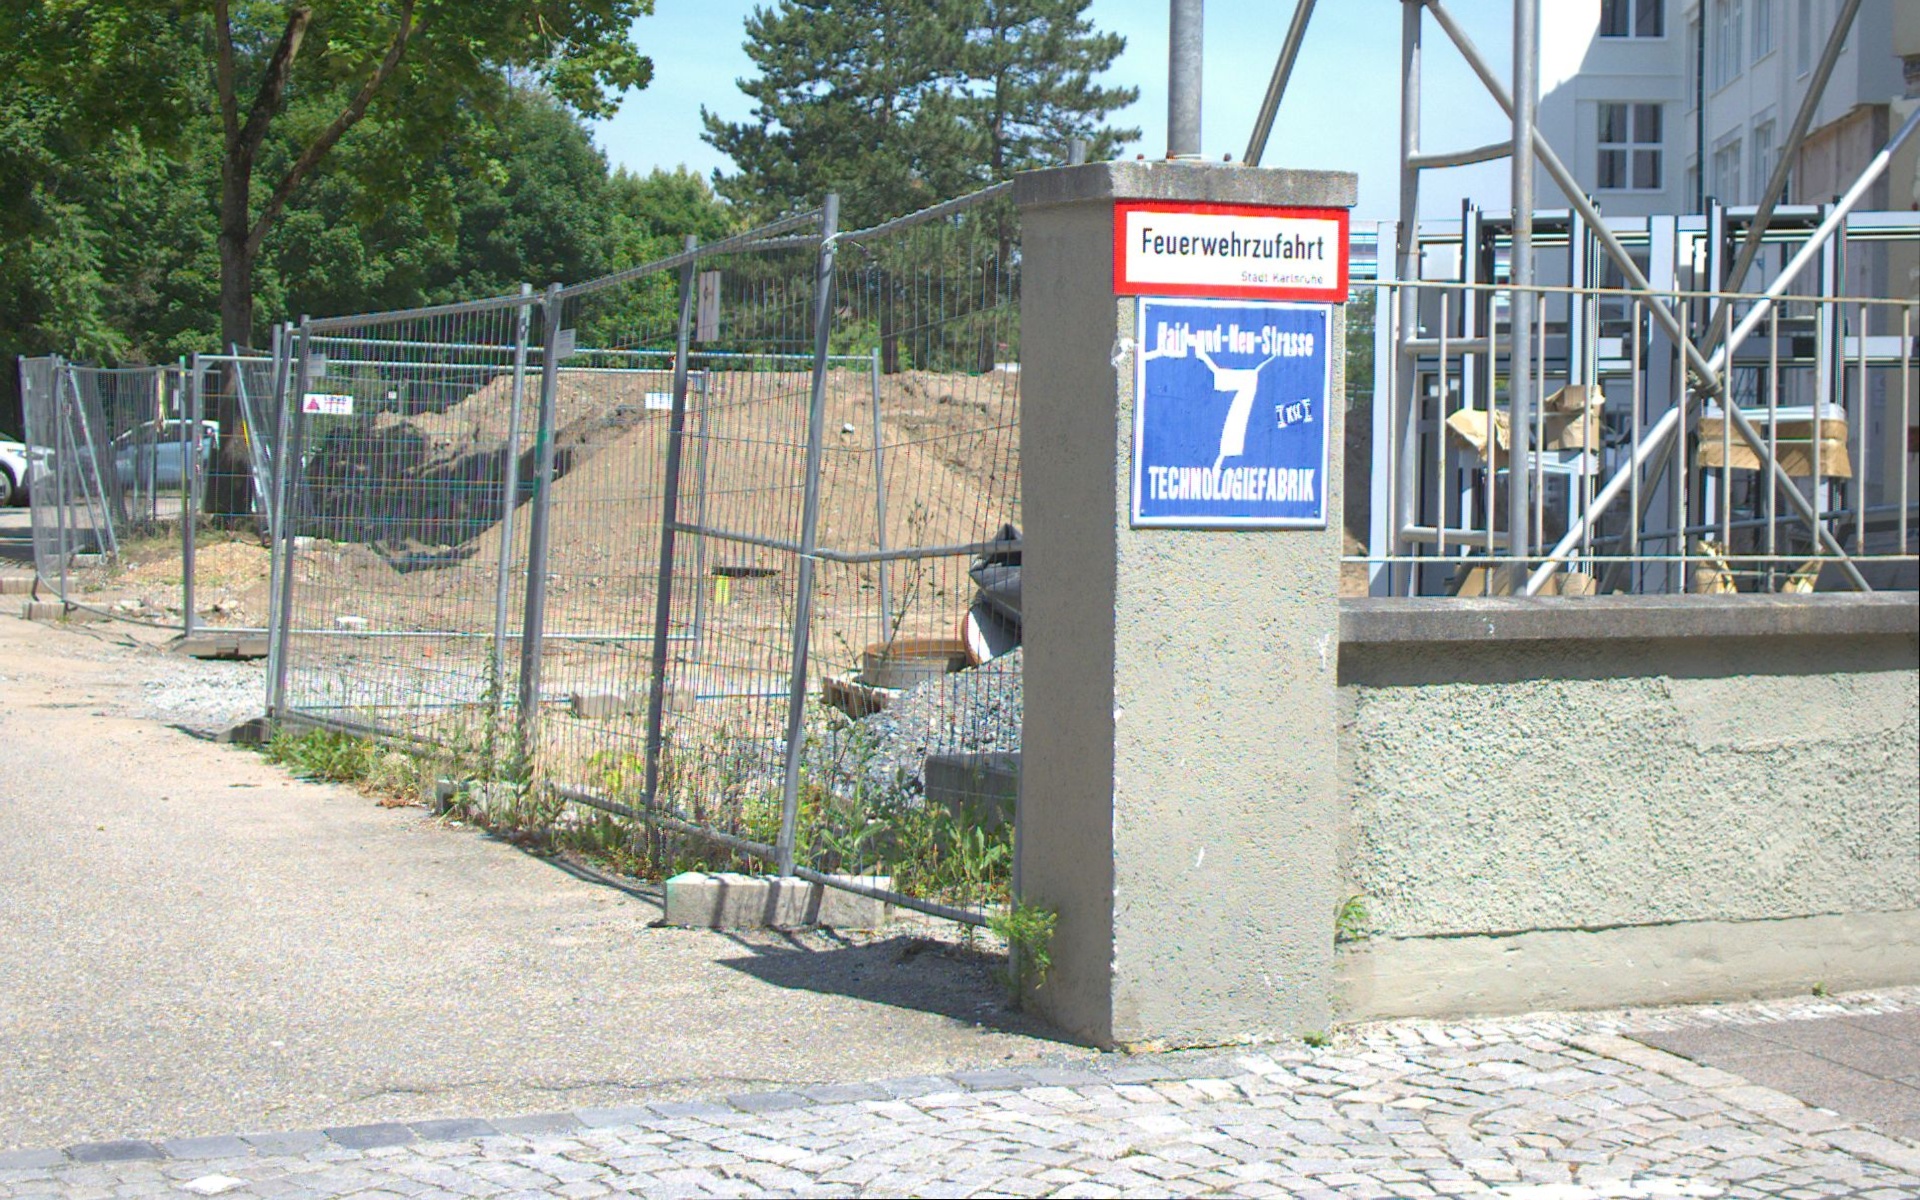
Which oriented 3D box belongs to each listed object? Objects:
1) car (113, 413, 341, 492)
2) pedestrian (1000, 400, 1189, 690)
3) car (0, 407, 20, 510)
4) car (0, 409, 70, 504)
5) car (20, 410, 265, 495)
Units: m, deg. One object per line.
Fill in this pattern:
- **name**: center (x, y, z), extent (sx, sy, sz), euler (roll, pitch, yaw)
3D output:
- **car**: center (-15.993, -3.222, 75.110), extent (4.506, 1.592, 1.937), euler (1, 3, 4)
- **pedestrian**: center (0.850, -0.360, 22.023), extent (0.964, 1.813, 0.871), euler (0, 3, -14)
- **car**: center (-17.437, -2.300, 54.423), extent (4.506, 1.604, 2.000), euler (1, 1, 4)
- **car**: center (-17.236, -2.428, 56.947), extent (4.506, 1.526, 1.726), euler (1, 3, 3)
- **car**: center (-16.510, -3.001, 69.513), extent (4.506, 1.592, 1.726), euler (1, 3, 3)
